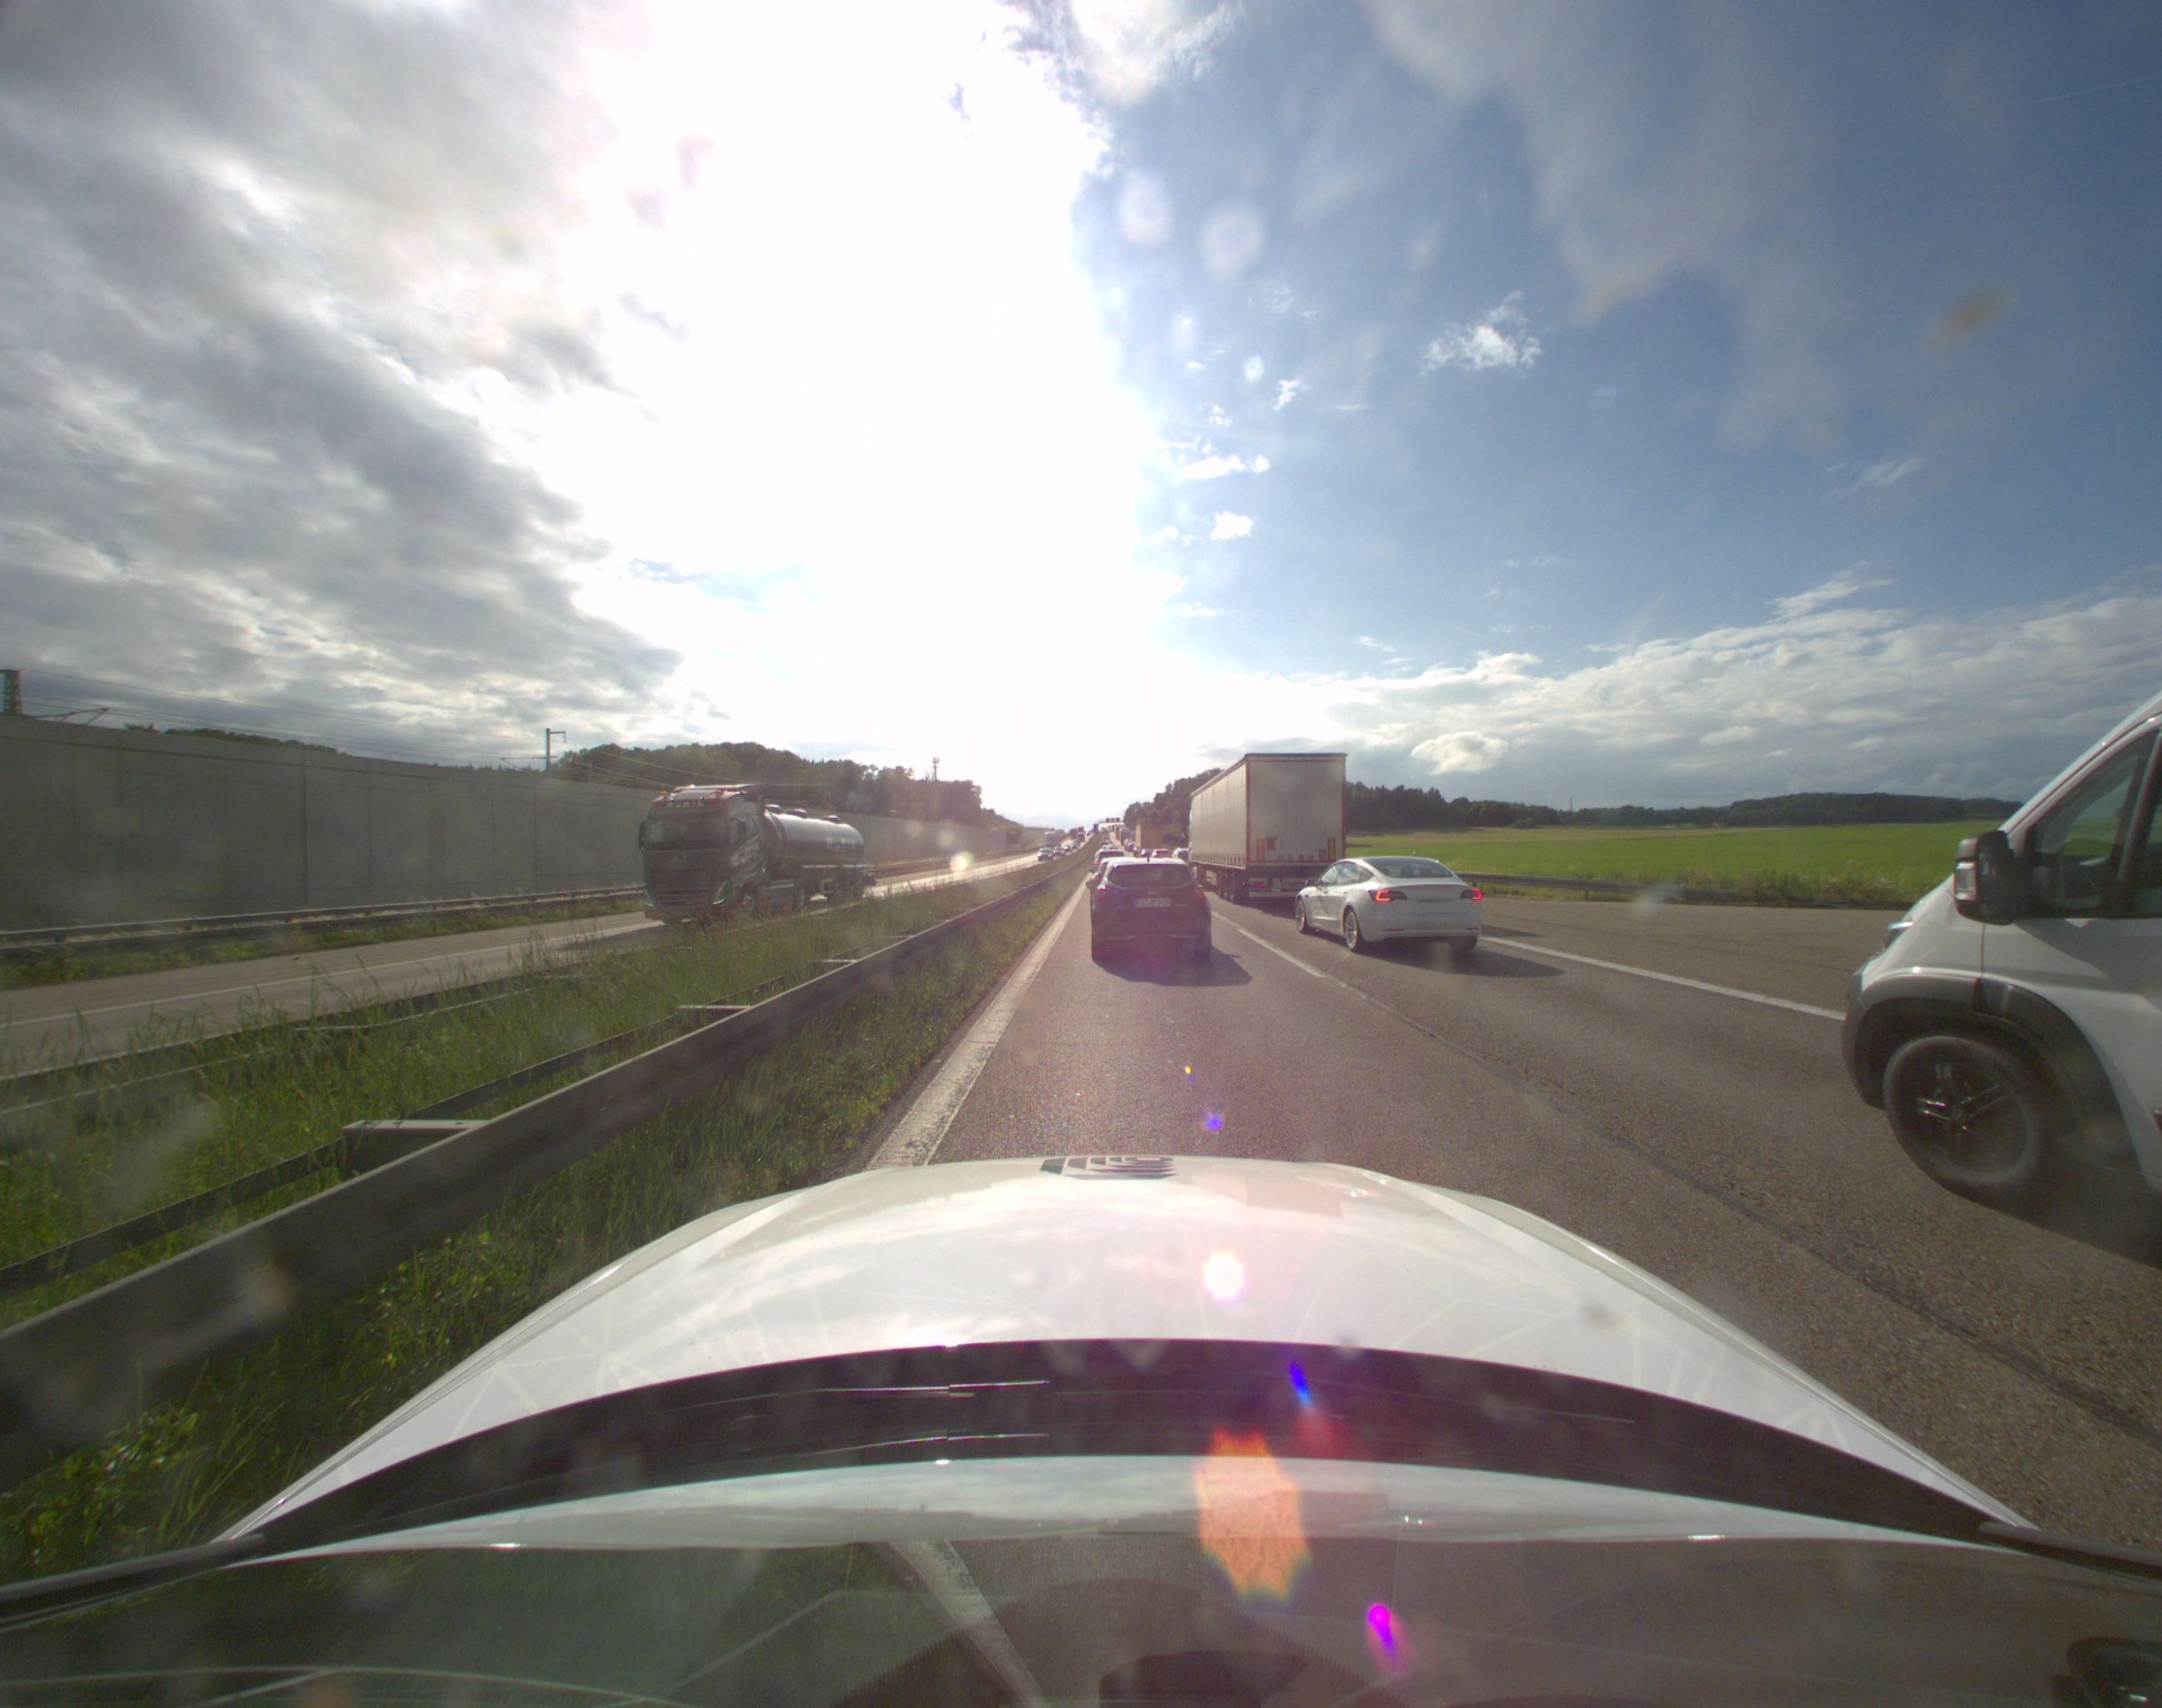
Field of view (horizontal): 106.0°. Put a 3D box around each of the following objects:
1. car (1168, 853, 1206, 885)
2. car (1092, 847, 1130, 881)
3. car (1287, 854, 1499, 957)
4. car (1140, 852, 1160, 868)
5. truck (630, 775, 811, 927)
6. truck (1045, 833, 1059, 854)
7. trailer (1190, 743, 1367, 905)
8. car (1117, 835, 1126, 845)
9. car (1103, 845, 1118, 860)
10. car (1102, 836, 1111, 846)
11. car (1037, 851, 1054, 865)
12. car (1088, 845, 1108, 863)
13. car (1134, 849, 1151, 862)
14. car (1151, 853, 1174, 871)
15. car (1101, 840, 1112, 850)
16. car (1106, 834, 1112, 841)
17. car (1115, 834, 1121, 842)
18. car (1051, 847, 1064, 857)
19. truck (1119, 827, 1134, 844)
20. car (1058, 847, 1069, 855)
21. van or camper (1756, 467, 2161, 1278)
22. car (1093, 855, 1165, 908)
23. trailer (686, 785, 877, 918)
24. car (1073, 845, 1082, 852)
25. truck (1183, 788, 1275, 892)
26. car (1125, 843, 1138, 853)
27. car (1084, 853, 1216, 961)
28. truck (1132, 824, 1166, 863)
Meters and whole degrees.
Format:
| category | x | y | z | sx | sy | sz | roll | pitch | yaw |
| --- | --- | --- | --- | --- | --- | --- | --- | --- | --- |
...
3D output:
| category | x | y | z | sx | sy | sz | roll | pitch | yaw |
| --- | --- | --- | --- | --- | --- | --- | --- | --- | --- |
| car | 5.750 | 0.799 | 44.553 | 1.690 | 1.610 | 4.440 | -1 | 0 | 3 |
| car | 1.557 | 0.509 | 42.678 | 1.866 | 1.644 | 4.234 | -1 | 0 | 2 |
| car | 4.880 | 0.711 | 13.482 | 1.783 | 1.394 | 4.436 | -1 | 0 | 0 |
| car | 7.382 | 0.641 | 87.270 | 1.866 | 1.644 | 4.234 | -1 | 0 | 2 |
| truck | -10.469 | -0.069 | 24.357 | 2.573 | 3.923 | 5.724 | -2 | 0 | 2 |
| truck | -6.058 | -2.216 | 168.473 | 2.371 | 4.181 | 5.934 | -2 | 0 | 2 |
| trailer | 5.818 | -0.624 | 27.010 | 3.118 | 4.011 | 13.373 | -1 | -1 | 2 |
| car | 9.951 | -3.469 | 200.178 | 1.866 | 2.158 | 5.214 | -1 | 3 | 2 |
| car | 3.707 | -0.220 | 102.088 | 1.866 | 1.644 | 4.235 | -1 | 1 | 2 |
| car | 5.832 | -2.976 | 186.965 | 1.866 | 2.158 | 5.214 | -1 | 3 | 2 |
| car | -4.518 | 0.546 | 104.909 | 1.774 | 1.737 | 4.104 | -1 | 0 | 2 |
| car | 1.737 | -0.011 | 82.652 | 1.866 | 1.644 | 4.234 | -1 | 1 | 2 |
| car | 8.434 | 0.218 | 111.938 | 1.867 | 1.644 | 4.231 | -1 | 0 | 0 |
| car | 7.772 | 0.781 | 77.741 | 1.866 | 1.644 | 4.234 | -1 | 0 | 2 |
| car | 4.477 | -1.523 | 143.067 | 1.867 | 1.644 | 4.233 | -1 | 1 | 1 |
| car | 8.686 | -5.177 | 252.125 | 1.866 | 2.158 | 5.214 | -1 | 3 | 2 |
| car | 11.546 | -5.041 | 255.341 | 1.866 | 2.158 | 5.214 | -1 | 3 | 2 |
| car | -3.686 | -0.329 | 128.260 | 1.691 | 1.499 | 4.428 | -1 | 0 | 1 |
| truck | 12.506 | -4.978 | 225.708 | 3.452 | 4.576 | 12.442 | 0 | 1 | 1 |
| car | -3.353 | -0.627 | 156.819 | 1.762 | 1.479 | 3.831 | -1 | -1 | 2 |
| van or camper | 4.639 | 0.039 | 1.131 | 2.207 | 2.681 | 6.334 | -1 | 0 | 1 |
| car | 1.356 | 0.738 | 23.849 | 1.866 | 1.358 | 4.234 | -1 | 0 | 2 |
| trailer | -10.333 | -0.053 | 29.852 | 2.579 | 3.902 | 10.867 | -2 | 0 | 1 |
| car | -0.807 | -1.223 | 177.184 | 1.735 | 1.358 | 4.234 | -1 | 0 | 2 |
| truck | 6.128 | -0.507 | 34.465 | 3.121 | 4.016 | 5.166 | -1 | -1 | 2 |
| car | 8.898 | -1.049 | 143.098 | 1.868 | 1.644 | 4.230 | -1 | 1 | -1 |
| car | 1.022 | 0.738 | 13.298 | 1.766 | 1.451 | 4.234 | -1 | 0 | 2 |
| truck | 8.272 | -1.169 | 100.718 | 3.286 | 4.577 | 12.440 | 0 | -1 | 1 |
